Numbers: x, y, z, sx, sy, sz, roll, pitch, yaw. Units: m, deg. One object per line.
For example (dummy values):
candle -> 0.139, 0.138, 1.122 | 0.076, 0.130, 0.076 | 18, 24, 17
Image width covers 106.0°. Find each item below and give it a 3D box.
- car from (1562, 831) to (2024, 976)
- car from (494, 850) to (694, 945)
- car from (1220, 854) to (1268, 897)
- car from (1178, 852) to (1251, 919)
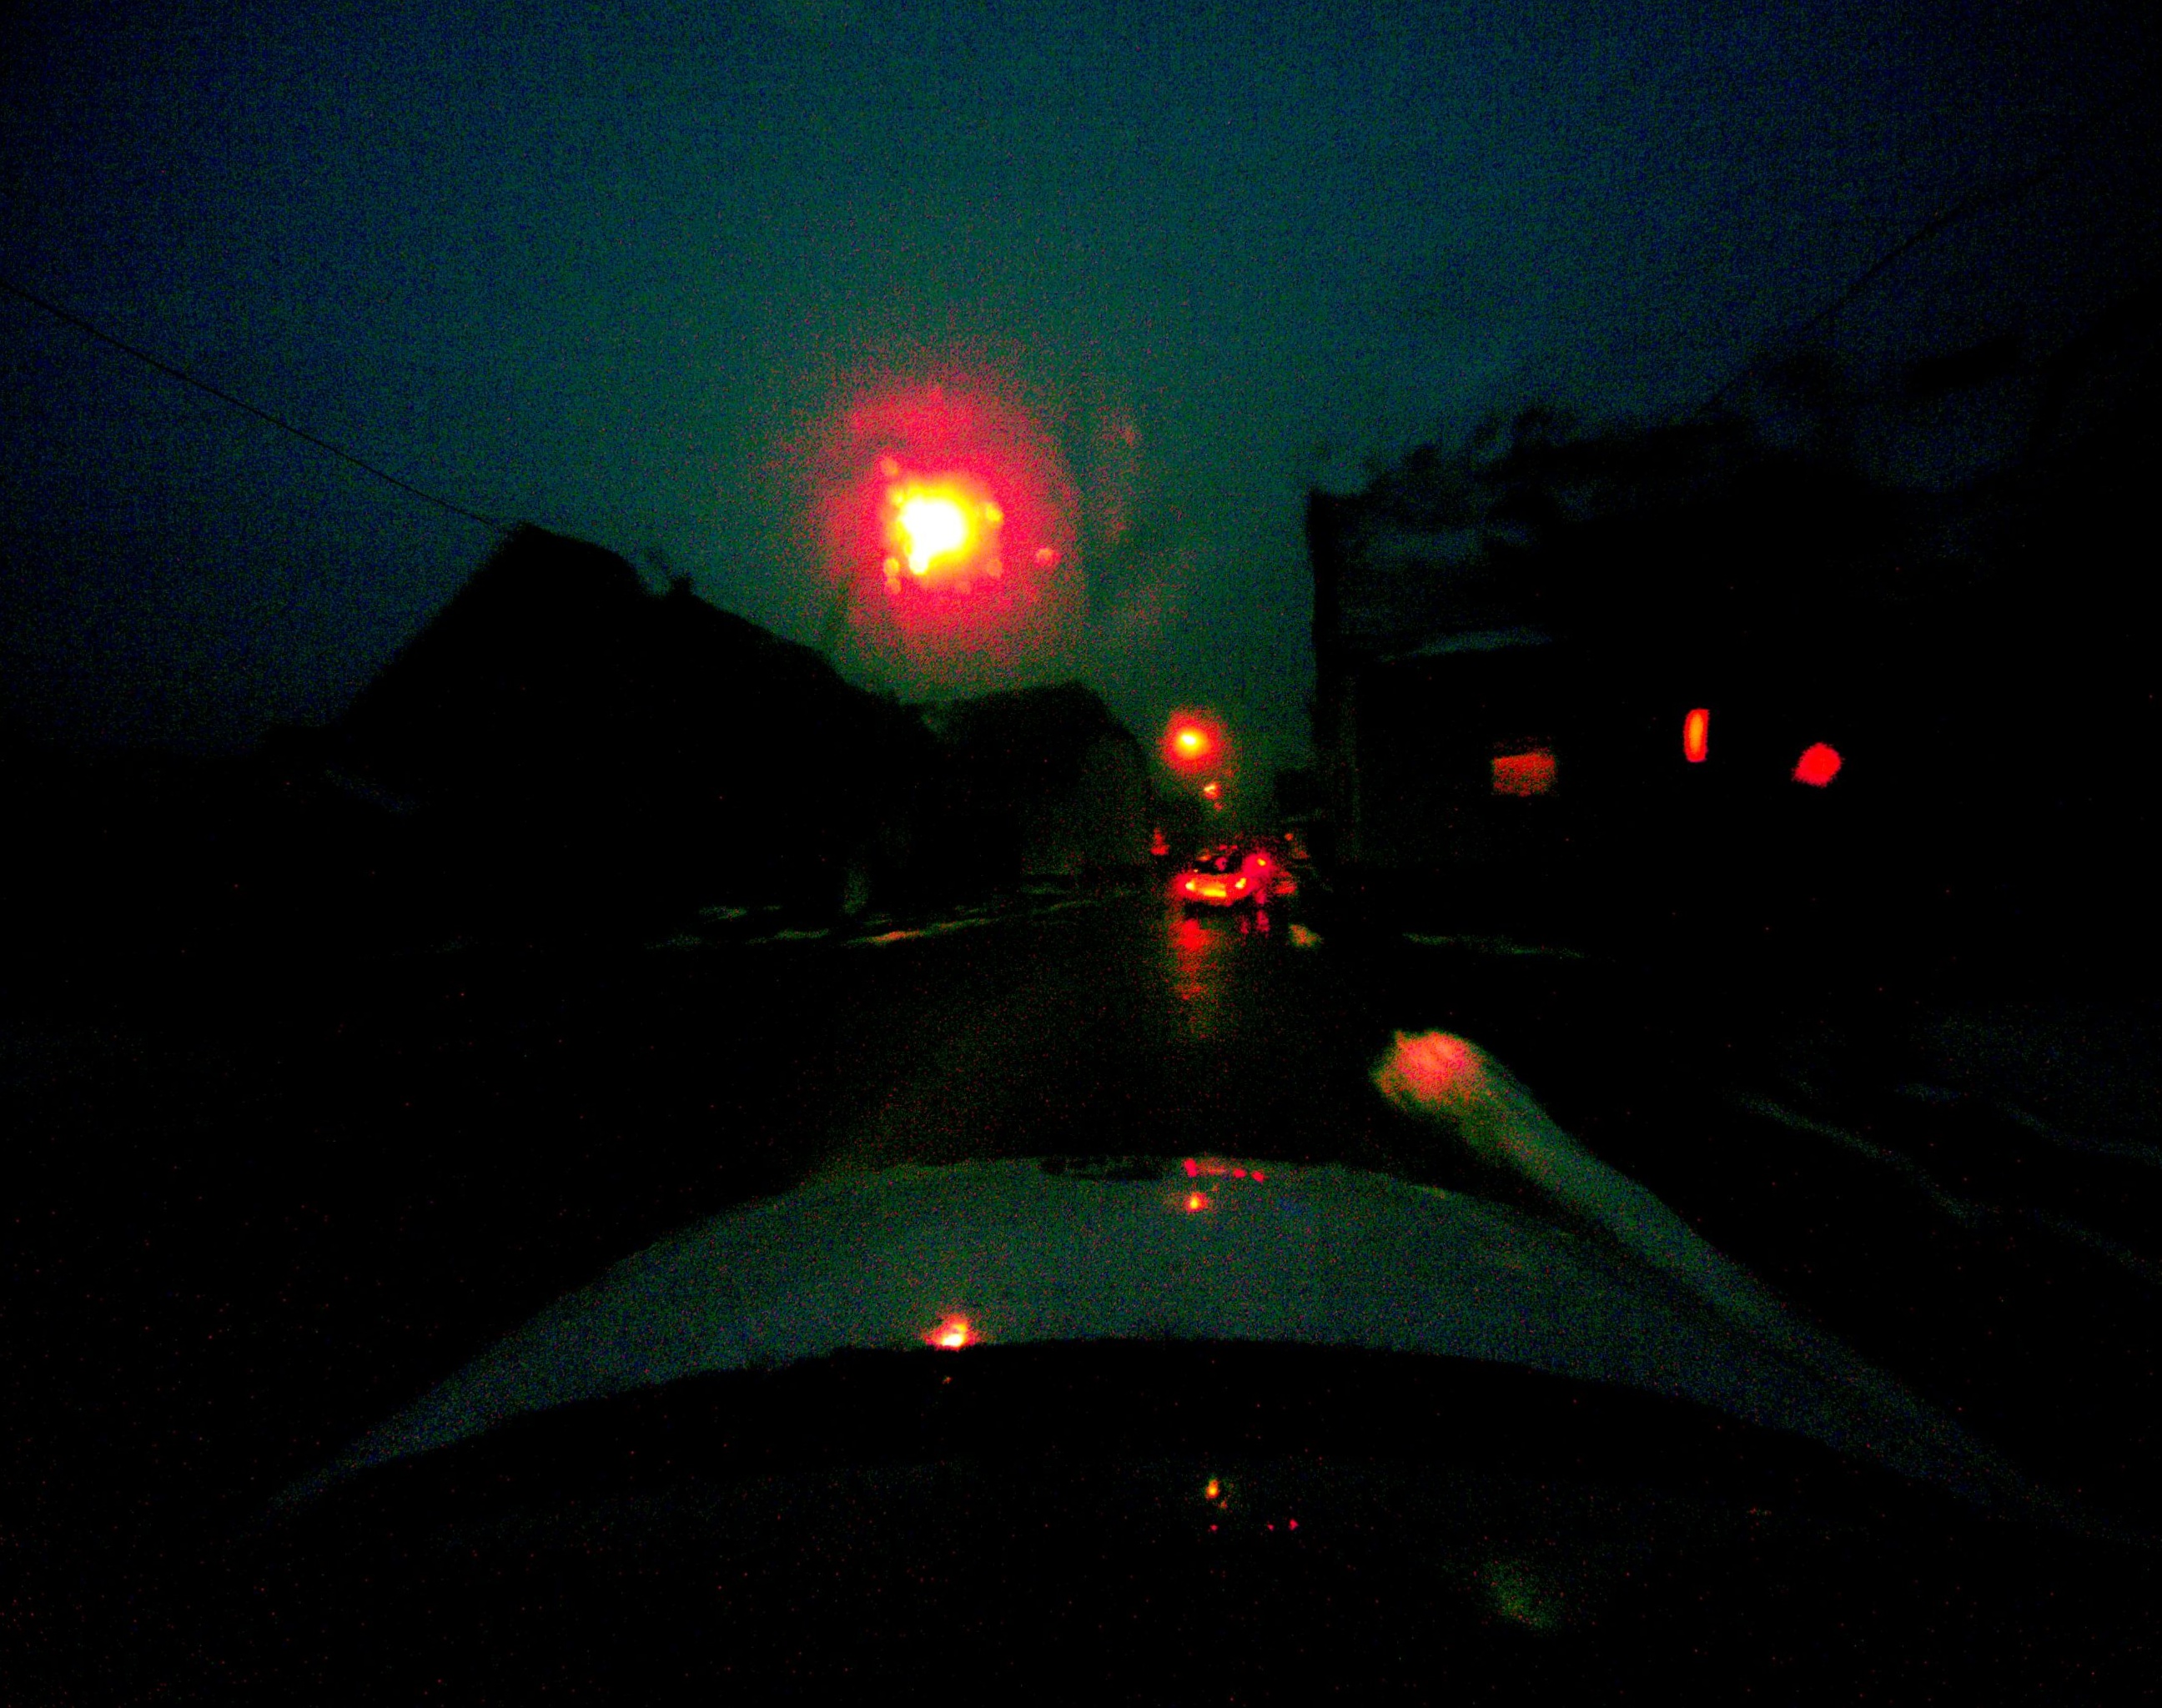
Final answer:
car -> 8.588, 0.555, 10.236 | 3.963, 1.596, 1.916 | 0, -1, 10
car -> -8.805, 0.740, 15.165 | 1.874, 1.504, 3.985 | -1, -1, -10
car -> 6.615, 0.841, 32.888 | 1.633, 1.596, 3.714 | -2, -1, 15
car -> 3.654, 0.801, 21.819 | 1.634, 1.596, 3.713 | -2, -1, 13
